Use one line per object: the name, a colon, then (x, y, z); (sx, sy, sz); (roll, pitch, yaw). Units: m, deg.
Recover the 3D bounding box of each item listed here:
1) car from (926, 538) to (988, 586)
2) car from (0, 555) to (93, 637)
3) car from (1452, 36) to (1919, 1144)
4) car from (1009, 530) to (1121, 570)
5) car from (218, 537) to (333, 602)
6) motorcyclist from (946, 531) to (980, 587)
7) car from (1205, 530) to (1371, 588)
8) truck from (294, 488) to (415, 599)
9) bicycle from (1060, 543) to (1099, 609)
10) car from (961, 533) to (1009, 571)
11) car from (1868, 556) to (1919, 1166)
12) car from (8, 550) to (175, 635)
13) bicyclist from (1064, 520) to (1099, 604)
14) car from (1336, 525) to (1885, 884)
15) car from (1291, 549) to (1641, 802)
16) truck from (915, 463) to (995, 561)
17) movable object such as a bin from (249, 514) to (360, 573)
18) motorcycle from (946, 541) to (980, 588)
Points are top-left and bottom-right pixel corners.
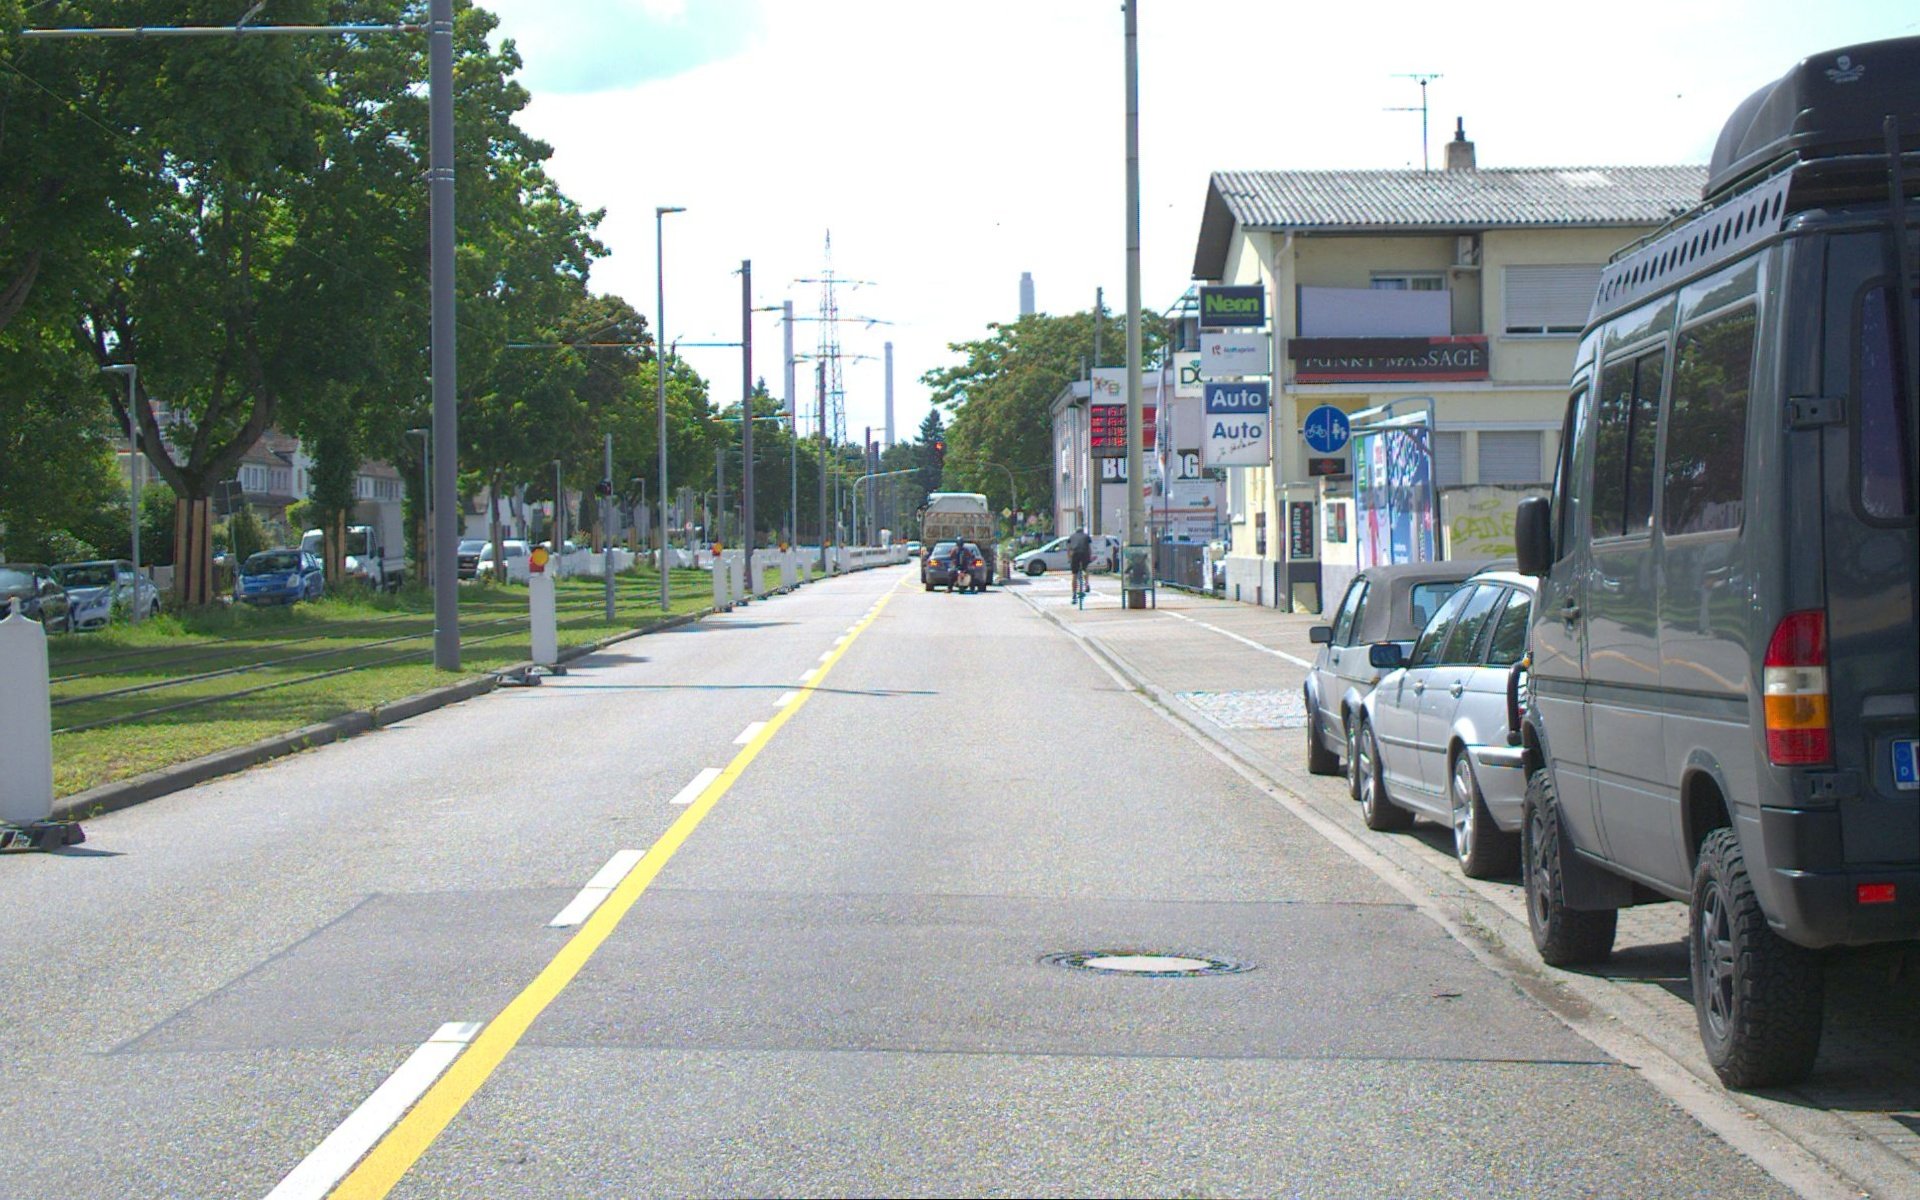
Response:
car: (-0.090, -1.176, 104.807); (1.821, 1.419, 4.000); (0, 1, 0)
car: (-16.162, -0.034, 58.105); (1.993, 1.313, 3.853); (-3, 0, 0)
car: (2.958, -0.081, 11.015); (1.996, 2.751, 4.879); (-2, 1, 0)
car: (4.345, -2.058, 142.231); (4.329, 1.546, 1.950); (-1, 0, -8)
car: (-16.133, -0.725, 81.193); (1.993, 1.448, 4.000); (-1, 0, -2)
motorcyclist: (0.093, -1.193, 100.150); (0.939, 1.609, 1.205); (2, 1, 0)
car: (8.439, -1.048, 88.356); (4.184, 1.426, 1.820); (-1, 1, 7)
truck: (-16.181, -1.533, 92.252); (1.993, 2.758, 6.277); (-3, 1, 0)
bicycle: (2.504, -0.521, 72.235); (0.693, 1.357, 2.419); (-1, 1, 0)
car: (0.979, -1.872, 133.991); (1.821, 1.459, 4.000); (0, 1, 0)
car: (3.046, 0.609, 5.793); (1.721, 1.397, 4.837); (-2, 1, 0)
car: (-16.044, -0.161, 63.758); (1.805, 1.477, 4.939); (-1, 1, 0)
bicyclist: (2.550, -0.799, 72.190); (0.671, 1.738, 0.813); (0, 1, 0)
car: (3.048, 0.434, 17.013); (1.691, 1.511, 4.356); (-1, 0, -2)
car: (3.122, 0.422, 21.918); (1.651, 1.426, 4.096); (-1, 0, 1)
truck: (-0.129, -3.143, 120.959); (2.610, 3.244, 9.183); (-1, 2, 1)
movable object such as a bin: (-27.770, -2.410, 145.702); (4.335, 2.441, 1.789); (-1, 1, -21)
motorcycle: (0.086, -1.043, 100.333); (0.939, 1.316, 2.645); (2, 1, 0)
